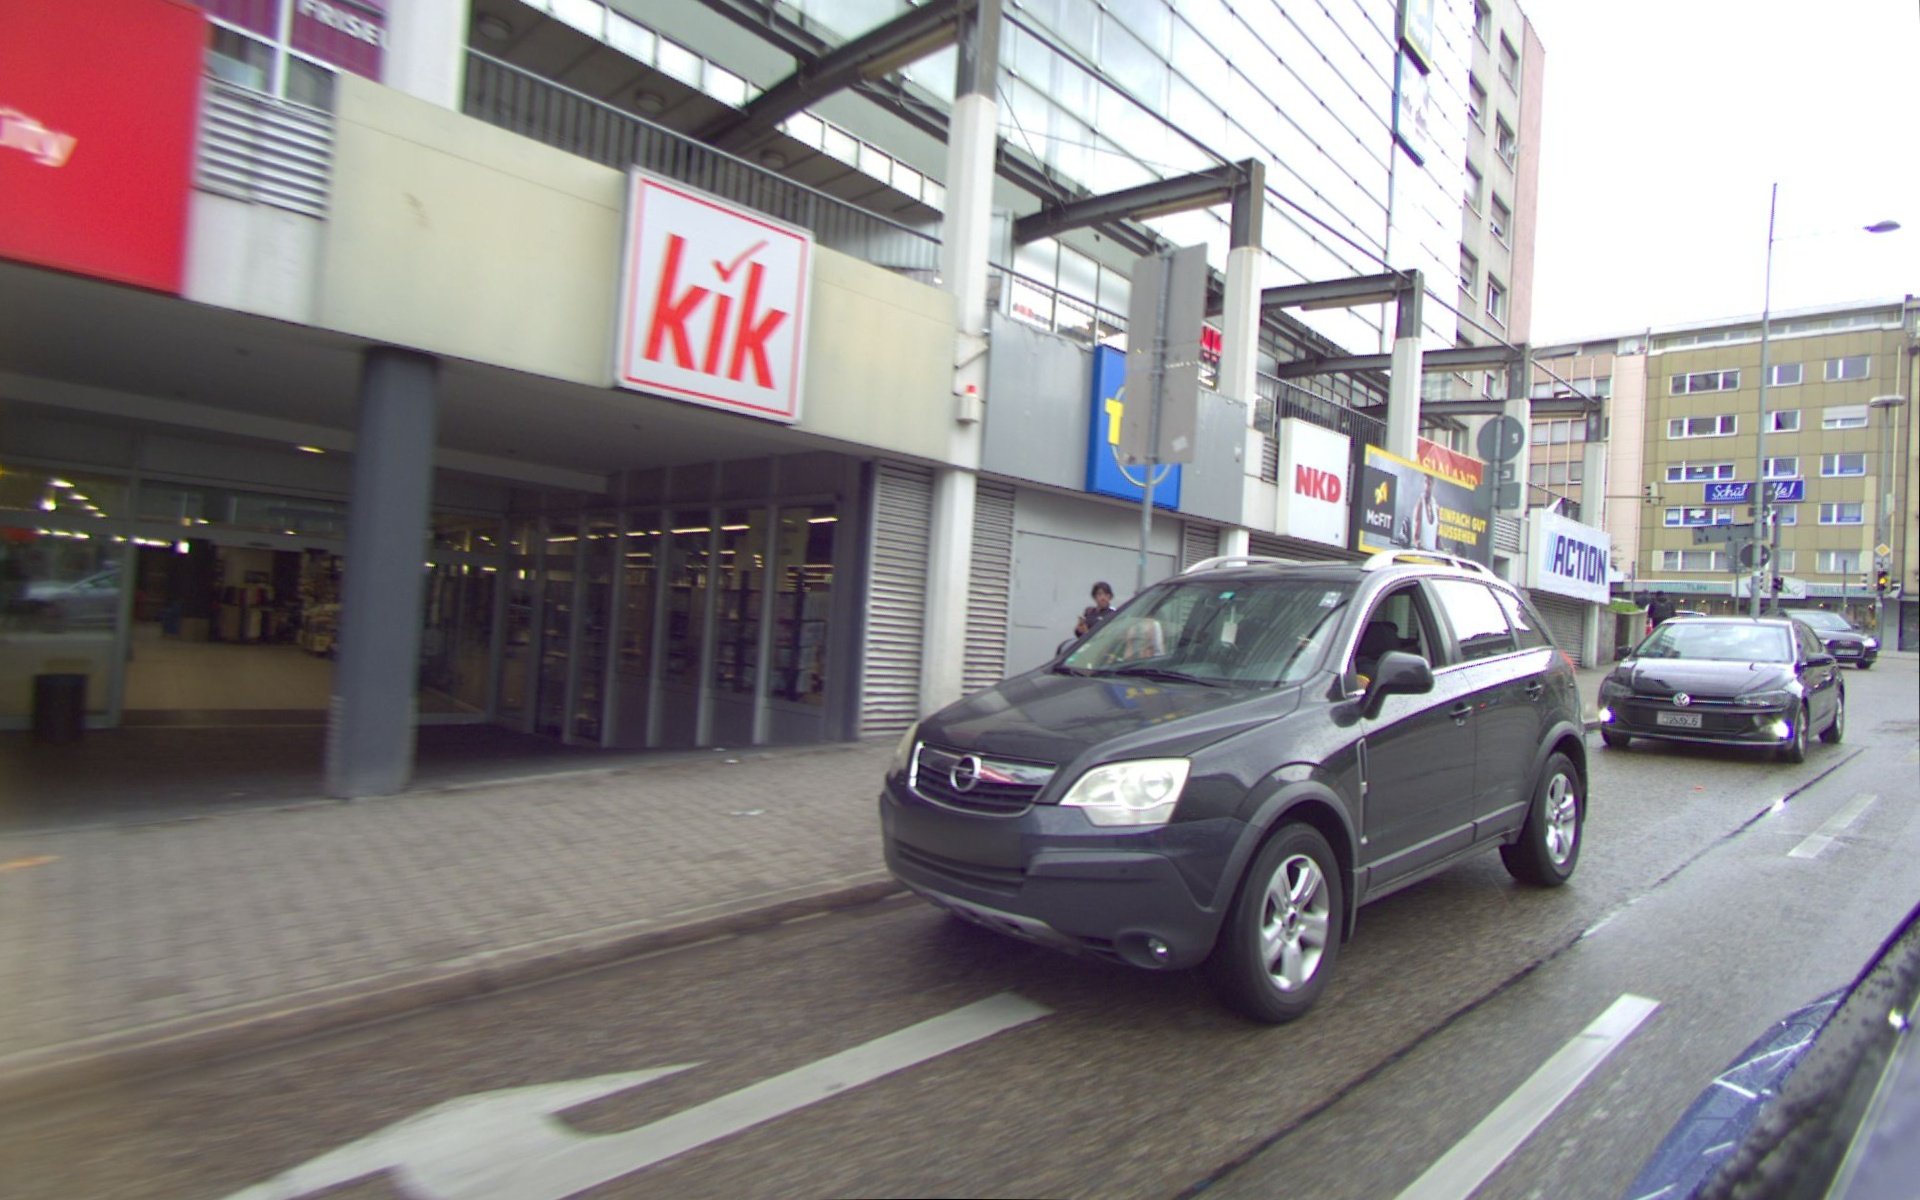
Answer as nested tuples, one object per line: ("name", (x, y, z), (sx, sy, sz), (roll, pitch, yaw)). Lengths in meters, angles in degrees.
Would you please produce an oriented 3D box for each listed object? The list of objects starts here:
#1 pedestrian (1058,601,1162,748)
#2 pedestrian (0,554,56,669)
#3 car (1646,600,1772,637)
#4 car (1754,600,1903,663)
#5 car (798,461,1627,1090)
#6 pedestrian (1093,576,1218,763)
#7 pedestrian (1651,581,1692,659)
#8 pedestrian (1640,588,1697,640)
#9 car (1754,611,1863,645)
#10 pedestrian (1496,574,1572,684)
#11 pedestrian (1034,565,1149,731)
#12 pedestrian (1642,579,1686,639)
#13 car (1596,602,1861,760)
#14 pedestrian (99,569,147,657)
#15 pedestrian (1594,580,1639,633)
("pedestrian", (1.332, 0.639, 9.043), (0.543, 1.222, 0.693), (2, 1, -34))
("pedestrian", (-16.491, 0.189, 17.671), (0.942, 1.951, 0.863), (3, -1, -41))
("car", (35.563, 0.870, 48.126), (4.618, 1.433, 1.769), (4, 0, 44))
("car", (24.585, 0.823, 28.841), (1.850, 1.566, 4.075), (3, 1, 20))
("car", (1.515, 0.520, 5.041), (4.226, 1.808, 1.910), (0, -2, -41))
("pedestrian", (1.631, 0.552, 8.503), (0.585, 1.455, 0.749), (2, 2, -34))
("pedestrian", (17.740, 0.498, 25.224), (0.599, 1.863, 0.996), (3, 0, 44))
("pedestrian", (22.965, 0.429, 32.836), (1.043, 1.550, 1.023), (5, 3, 13))
("car", (45.586, 1.459, 54.431), (4.387, 1.570, 1.824), (3, 1, 44))
("pedestrian", (9.435, 0.460, 16.650), (0.606, 1.744, 0.839), (2, 1, -34))
("pedestrian", (1.255, 0.433, 9.678), (0.691, 1.485, 0.774), (2, 1, -40))
("pedestrian", (23.791, 0.285, 34.216), (0.605, 1.888, 0.789), (8, 2, -30))
("car", (8.642, 0.802, 11.271), (3.814, 1.449, 1.739), (2, -2, -43))
("pedestrian", (-17.127, 0.258, 20.702), (0.627, 1.740, 0.770), (5, -2, -40))
("pedestrian", (22.988, 0.213, 35.434), (1.018, 1.744, 0.839), (6, -1, -29))
